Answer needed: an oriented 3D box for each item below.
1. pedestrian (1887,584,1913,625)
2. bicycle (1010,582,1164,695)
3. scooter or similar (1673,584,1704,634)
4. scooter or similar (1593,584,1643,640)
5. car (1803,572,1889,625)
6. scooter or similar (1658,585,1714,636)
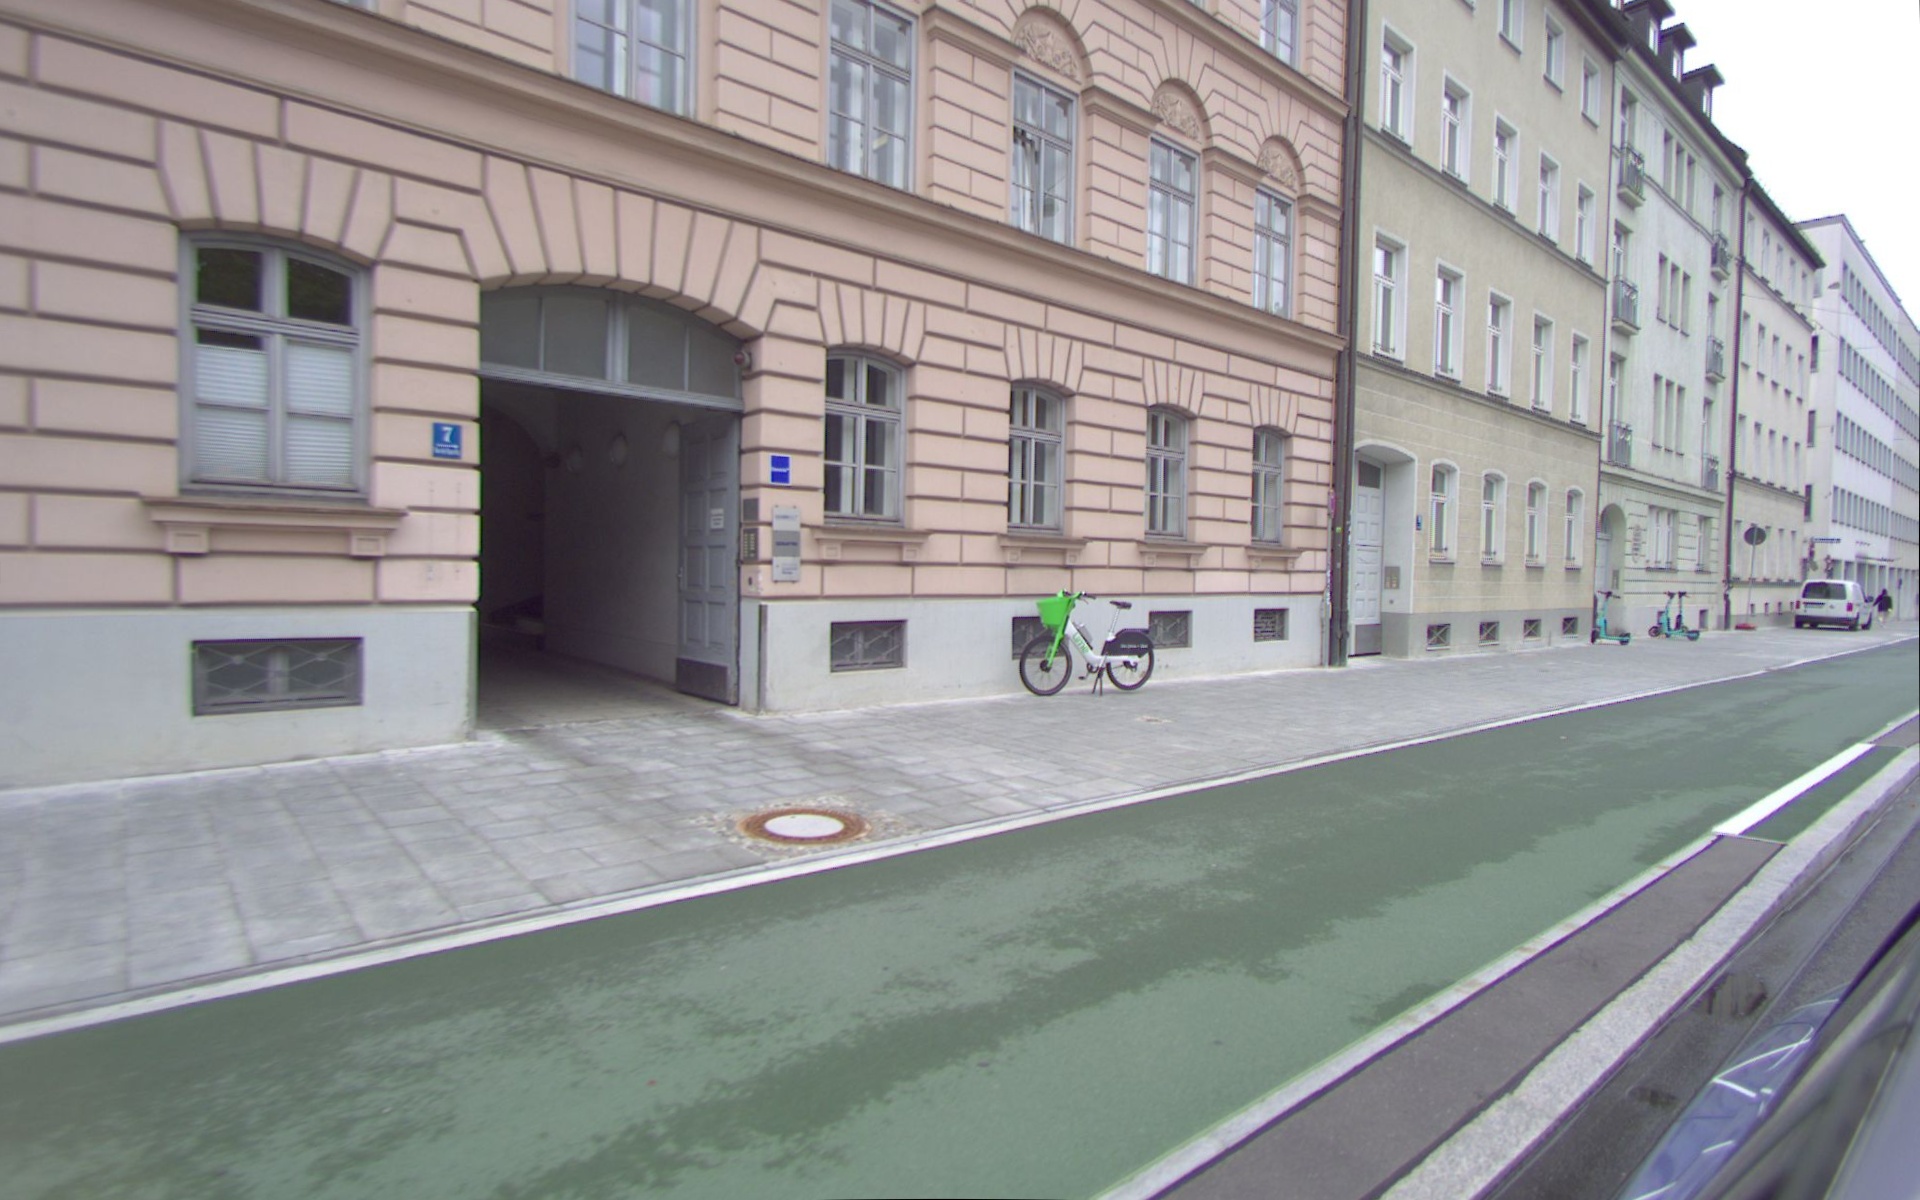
[{"bbox_3d":[39.660,0.190,42.678,0.724,1.656,0.666,0,2,-41],"label":"pedestrian"},{"bbox_3d":[1.430,0.413,11.284,1.695,1.188,0.428,0,2,-24],"label":"bicycle"},{"bbox_3d":[19.561,0.220,27.177,1.100,1.288,0.387,-1,4,-42],"label":"scooter or similar"},{"bbox_3d":[15.159,0.277,23.315,1.096,1.246,0.248,1,3,-15],"label":"scooter or similar"},{"bbox_3d":[32.590,-0.069,37.199,4.357,1.771,1.737,0,3,-41],"label":"car"},{"bbox_3d":[18.882,0.266,26.337,1.104,1.246,0.246,3,3,17],"label":"scooter or similar"}]
